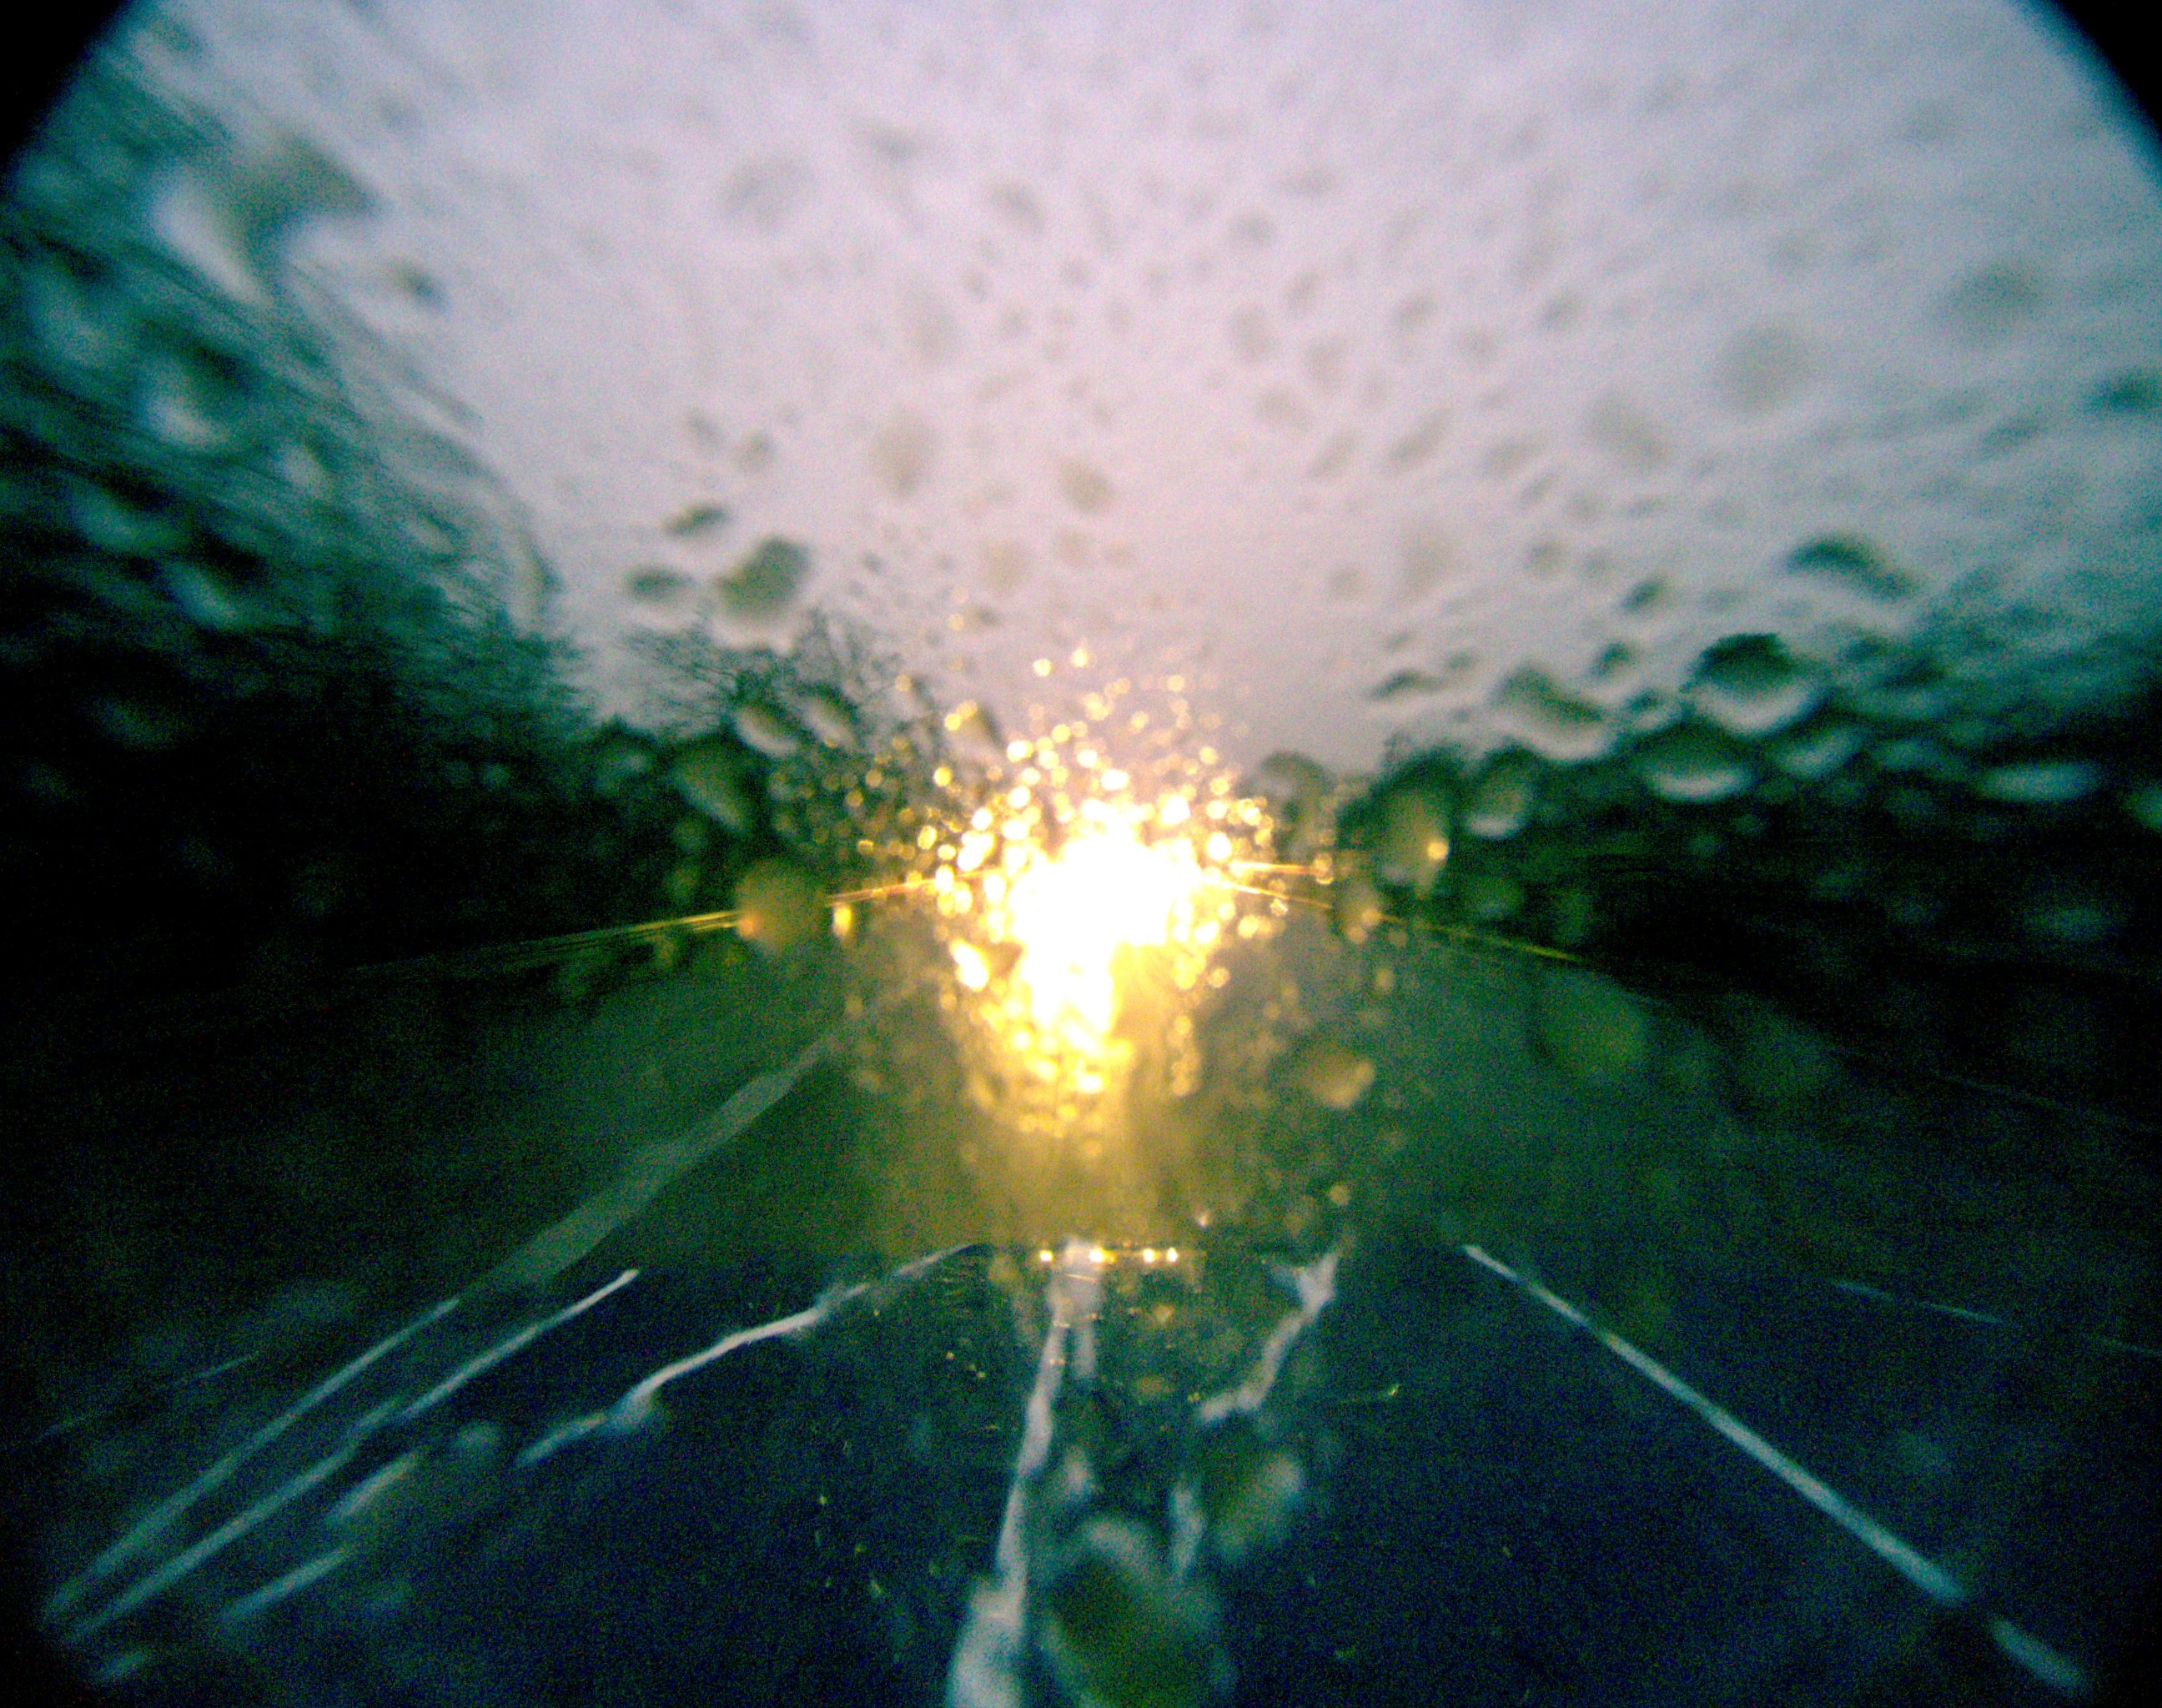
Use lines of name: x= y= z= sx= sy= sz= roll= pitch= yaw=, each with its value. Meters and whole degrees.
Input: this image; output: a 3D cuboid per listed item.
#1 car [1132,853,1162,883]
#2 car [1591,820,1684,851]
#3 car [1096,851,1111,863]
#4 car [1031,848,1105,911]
car: x=4.510 y=0.920 z=52.169 sx=1.766 sy=1.922 sz=4.000 roll=-2 pitch=1 yaw=1
car: x=33.263 y=-1.087 z=45.493 sx=2.003 sy=1.701 sz=3.991 roll=-2 pitch=1 yaw=-28
car: x=2.719 y=0.366 z=92.958 sx=1.741 sy=1.441 sz=4.000 roll=-2 pitch=1 yaw=2
car: x=-0.339 y=0.746 z=24.410 sx=1.928 sy=1.781 sz=3.942 roll=-2 pitch=1 yaw=5
